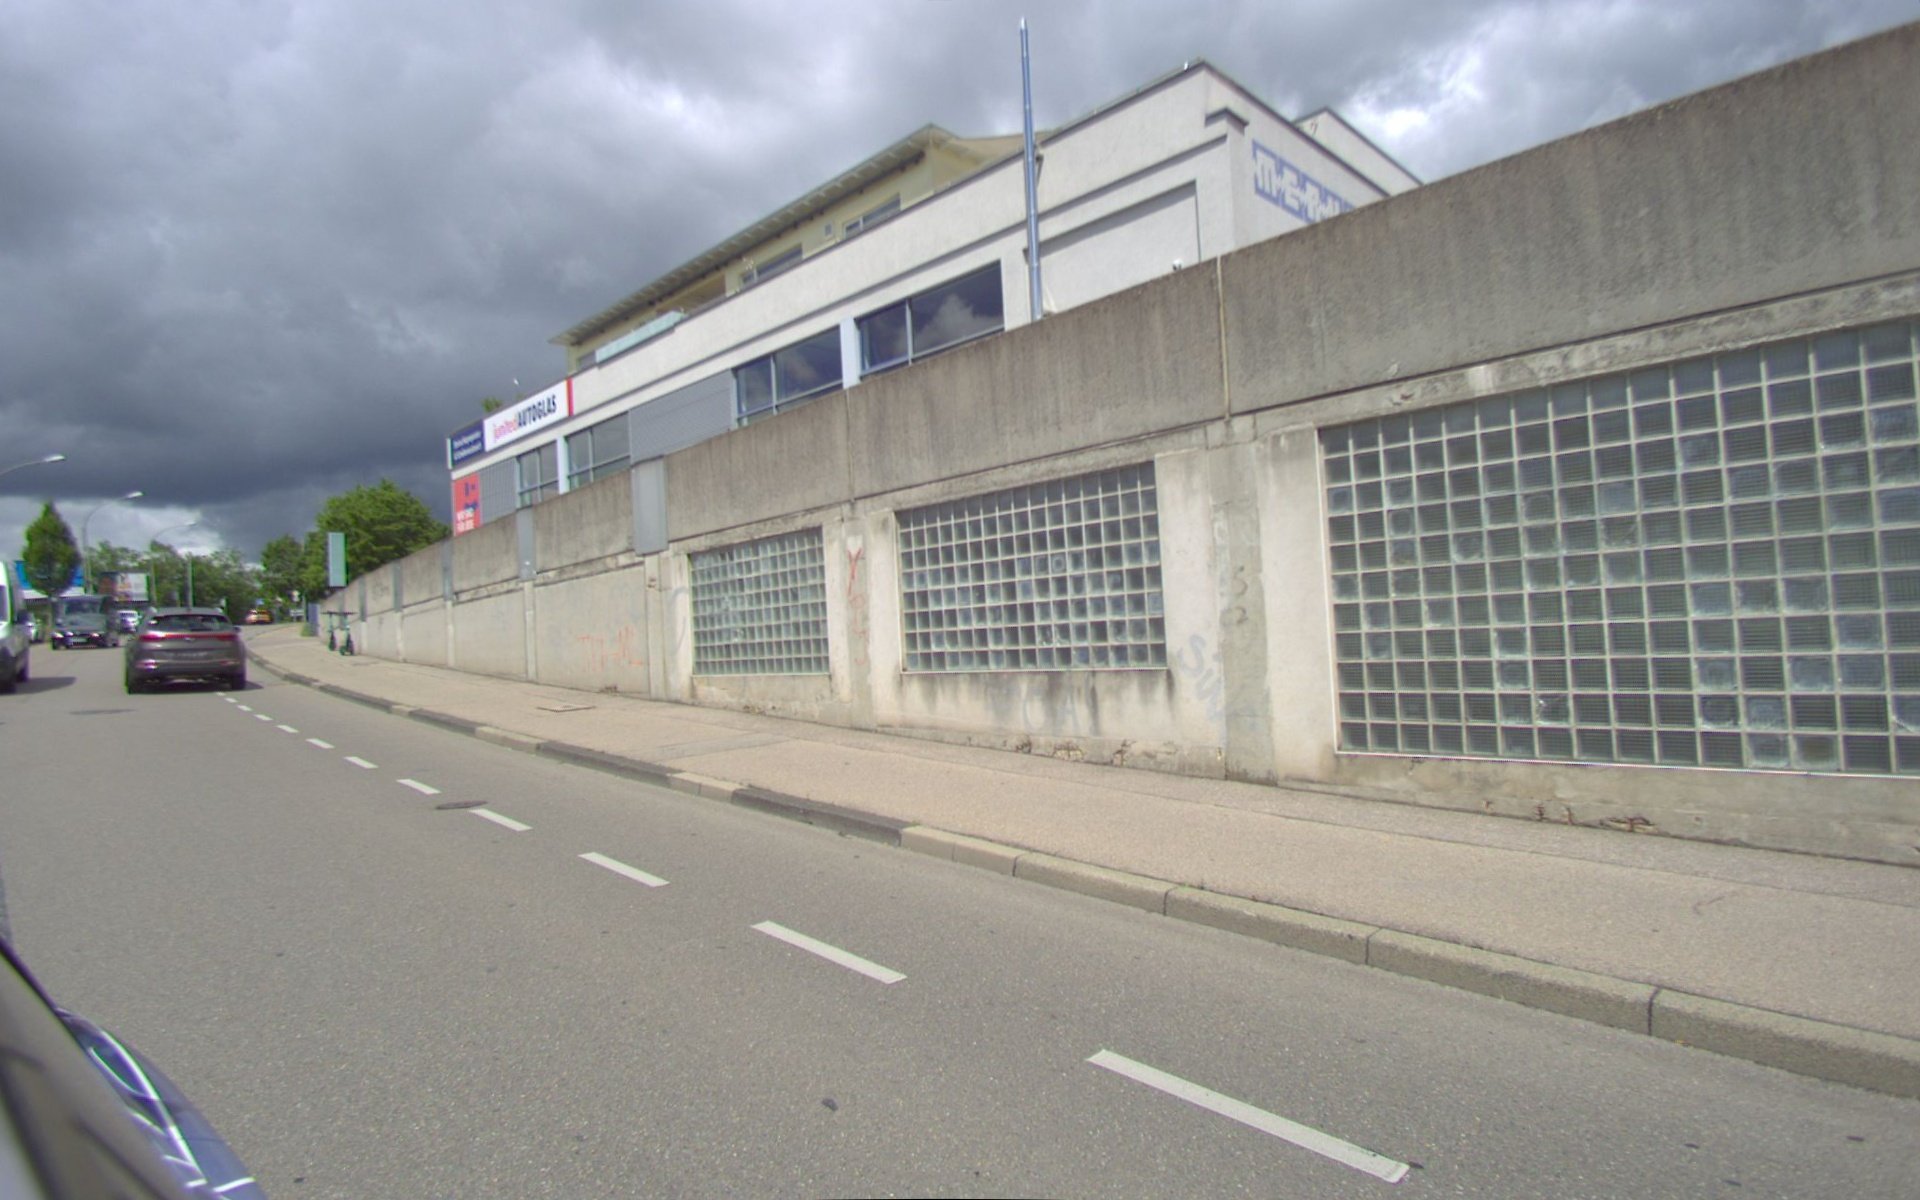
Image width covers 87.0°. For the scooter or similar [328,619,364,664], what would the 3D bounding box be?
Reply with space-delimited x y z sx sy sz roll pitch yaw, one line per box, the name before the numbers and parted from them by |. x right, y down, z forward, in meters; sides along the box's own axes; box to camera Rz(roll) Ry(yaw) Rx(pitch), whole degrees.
scooter or similar | -18.232 1.226 30.051 1.383 1.285 0.513 -1 2 43

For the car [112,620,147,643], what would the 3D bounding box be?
car | -57.249 2.149 69.771 1.379 1.443 3.455 -1 0 -31

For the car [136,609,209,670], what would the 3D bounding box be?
car | -25.395 1.215 32.586 1.607 1.831 3.785 0 -1 -42

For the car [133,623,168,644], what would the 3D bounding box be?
car | -60.472 2.479 75.637 1.497 1.466 3.969 -1 0 -31

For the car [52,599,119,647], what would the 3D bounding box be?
car | -51.359 1.331 59.545 2.026 2.613 5.751 -1 0 -31

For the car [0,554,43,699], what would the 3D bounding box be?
car | -19.941 0.530 20.124 2.050 2.610 6.075 -1 0 -38

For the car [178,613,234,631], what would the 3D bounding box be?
car | -90.663 2.601 121.723 1.952 1.984 5.085 -1 0 26

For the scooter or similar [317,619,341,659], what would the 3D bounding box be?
scooter or similar | -20.595 1.259 33.025 0.550 1.285 1.308 -1 0 -37

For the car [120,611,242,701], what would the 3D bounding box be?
car | -15.851 1.062 20.528 1.777 1.634 4.099 0 -1 -40

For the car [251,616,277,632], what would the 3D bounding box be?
car | -68.764 2.378 100.067 1.578 1.502 3.694 -1 0 -26

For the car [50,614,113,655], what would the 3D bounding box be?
car | -35.684 1.363 41.173 1.560 1.517 3.966 -1 0 -36
